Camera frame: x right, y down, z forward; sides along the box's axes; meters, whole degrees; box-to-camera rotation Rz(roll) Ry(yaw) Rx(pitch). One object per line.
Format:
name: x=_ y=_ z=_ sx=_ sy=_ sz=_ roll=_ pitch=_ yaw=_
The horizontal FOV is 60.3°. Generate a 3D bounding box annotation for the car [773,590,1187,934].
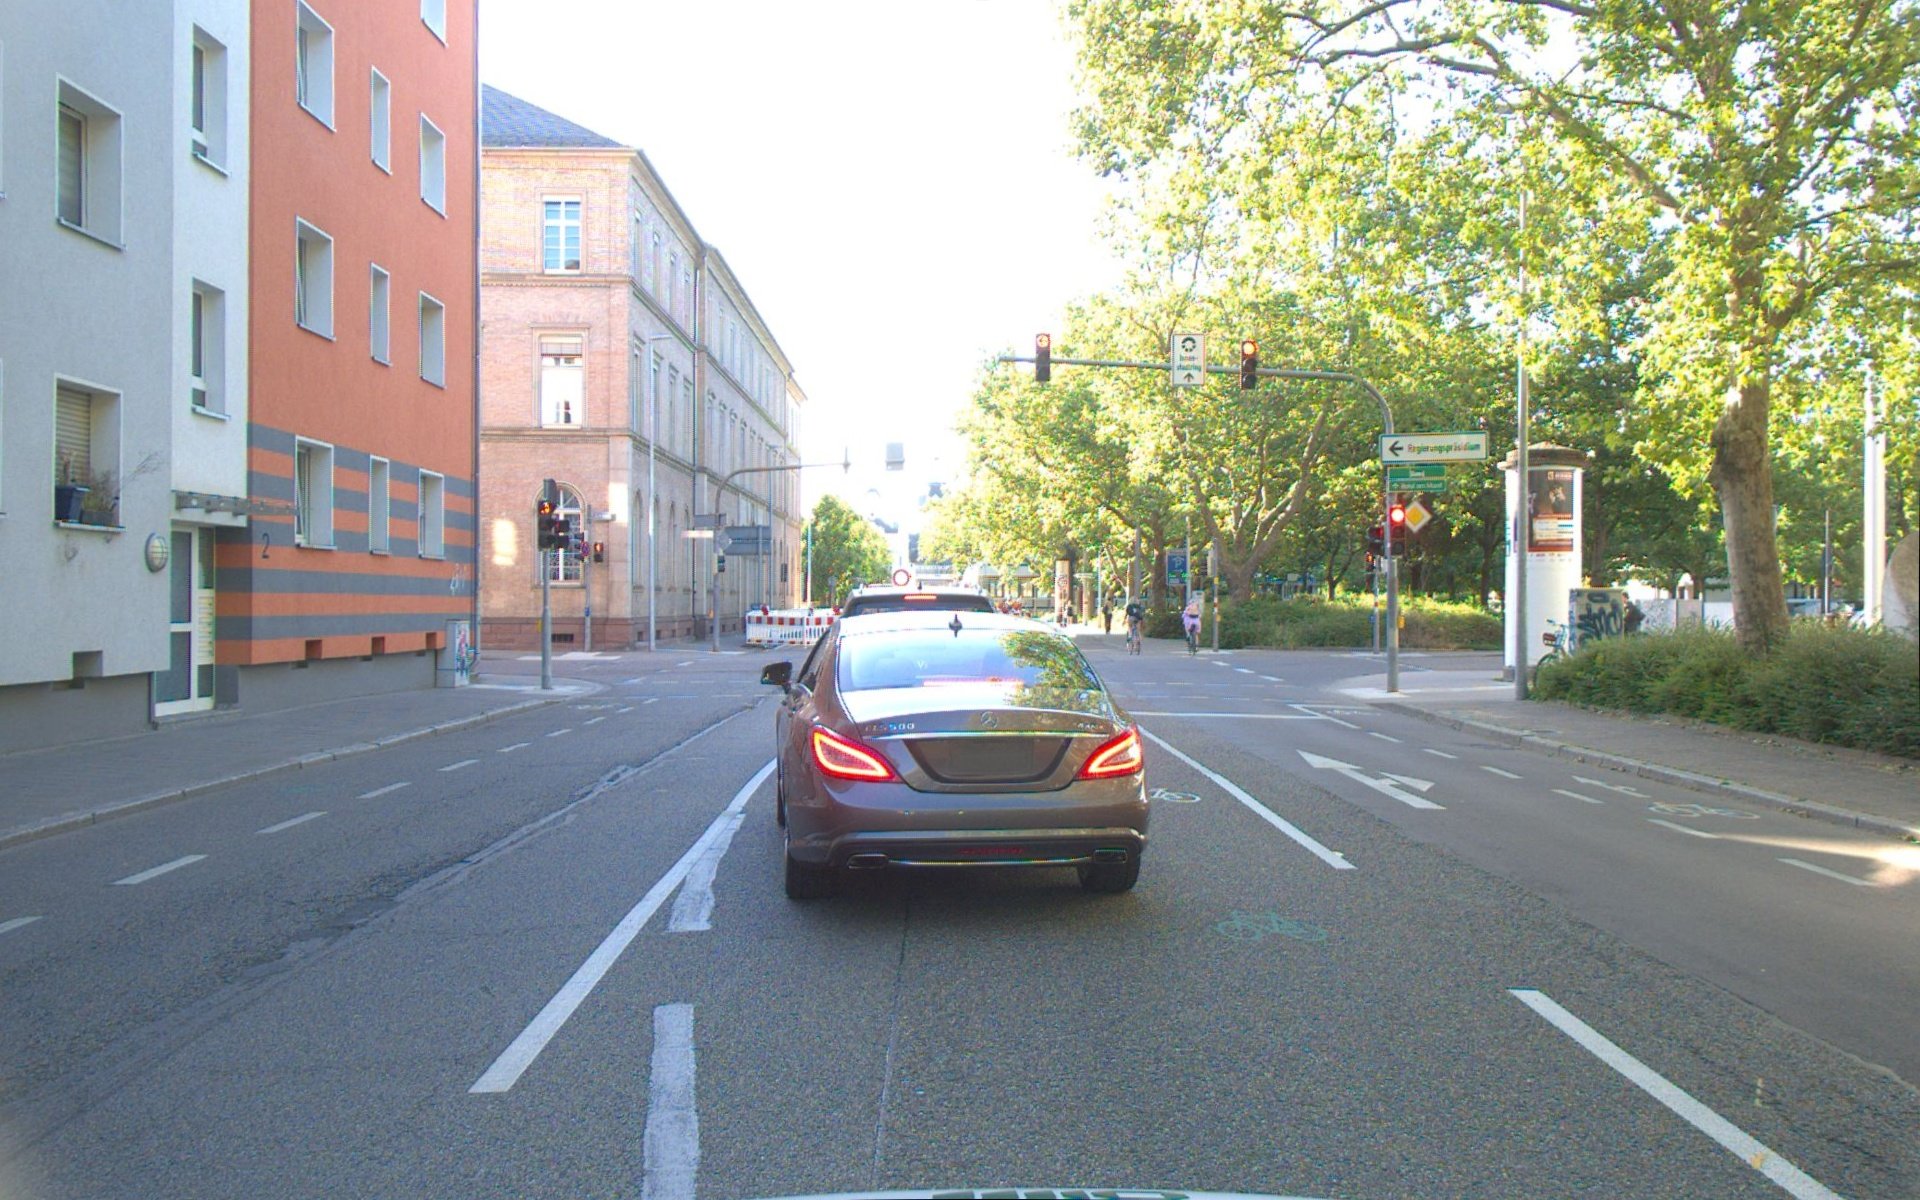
car: x=-0.139 y=0.713 z=9.508 sx=1.787 sy=1.502 sz=4.346 roll=0 pitch=0 yaw=-8

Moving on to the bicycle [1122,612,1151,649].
bicycle: x=5.120 y=0.877 z=48.090 sx=0.598 sy=1.044 sz=1.731 roll=2 pitch=0 yaw=-1

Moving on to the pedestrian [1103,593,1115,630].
pedestrian: x=7.018 y=0.535 z=77.905 sx=0.548 sy=1.707 sz=0.564 roll=0 pitch=0 yaw=-1

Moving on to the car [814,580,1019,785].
car: x=-0.419 y=0.668 z=15.271 sx=1.647 sy=1.653 sz=3.839 roll=0 pitch=0 yaw=-2

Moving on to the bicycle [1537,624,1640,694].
bicycle: x=9.685 y=0.906 z=25.492 sx=1.387 sy=1.055 sz=0.538 roll=0 pitch=0 yaw=-5

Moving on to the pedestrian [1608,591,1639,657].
pedestrian: x=18.617 y=0.668 z=46.409 sx=0.607 sy=1.815 sz=0.630 roll=0 pitch=0 yaw=1

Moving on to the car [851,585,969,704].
car: x=-0.771 y=0.626 z=25.070 sx=1.647 sy=1.653 sz=3.839 roll=0 pitch=0 yaw=-2

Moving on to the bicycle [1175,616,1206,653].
bicycle: x=6.700 y=0.990 z=48.154 sx=0.588 sy=1.002 sz=1.881 roll=2 pitch=0 yaw=-1

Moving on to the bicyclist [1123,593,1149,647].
bicyclist: x=5.128 y=0.570 z=48.144 sx=0.598 sy=1.542 sz=0.889 roll=2 pitch=0 yaw=-1

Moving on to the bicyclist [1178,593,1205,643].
bicyclist: x=6.718 y=0.511 z=48.030 sx=0.588 sy=1.426 sz=0.931 roll=2 pitch=0 yaw=-1
